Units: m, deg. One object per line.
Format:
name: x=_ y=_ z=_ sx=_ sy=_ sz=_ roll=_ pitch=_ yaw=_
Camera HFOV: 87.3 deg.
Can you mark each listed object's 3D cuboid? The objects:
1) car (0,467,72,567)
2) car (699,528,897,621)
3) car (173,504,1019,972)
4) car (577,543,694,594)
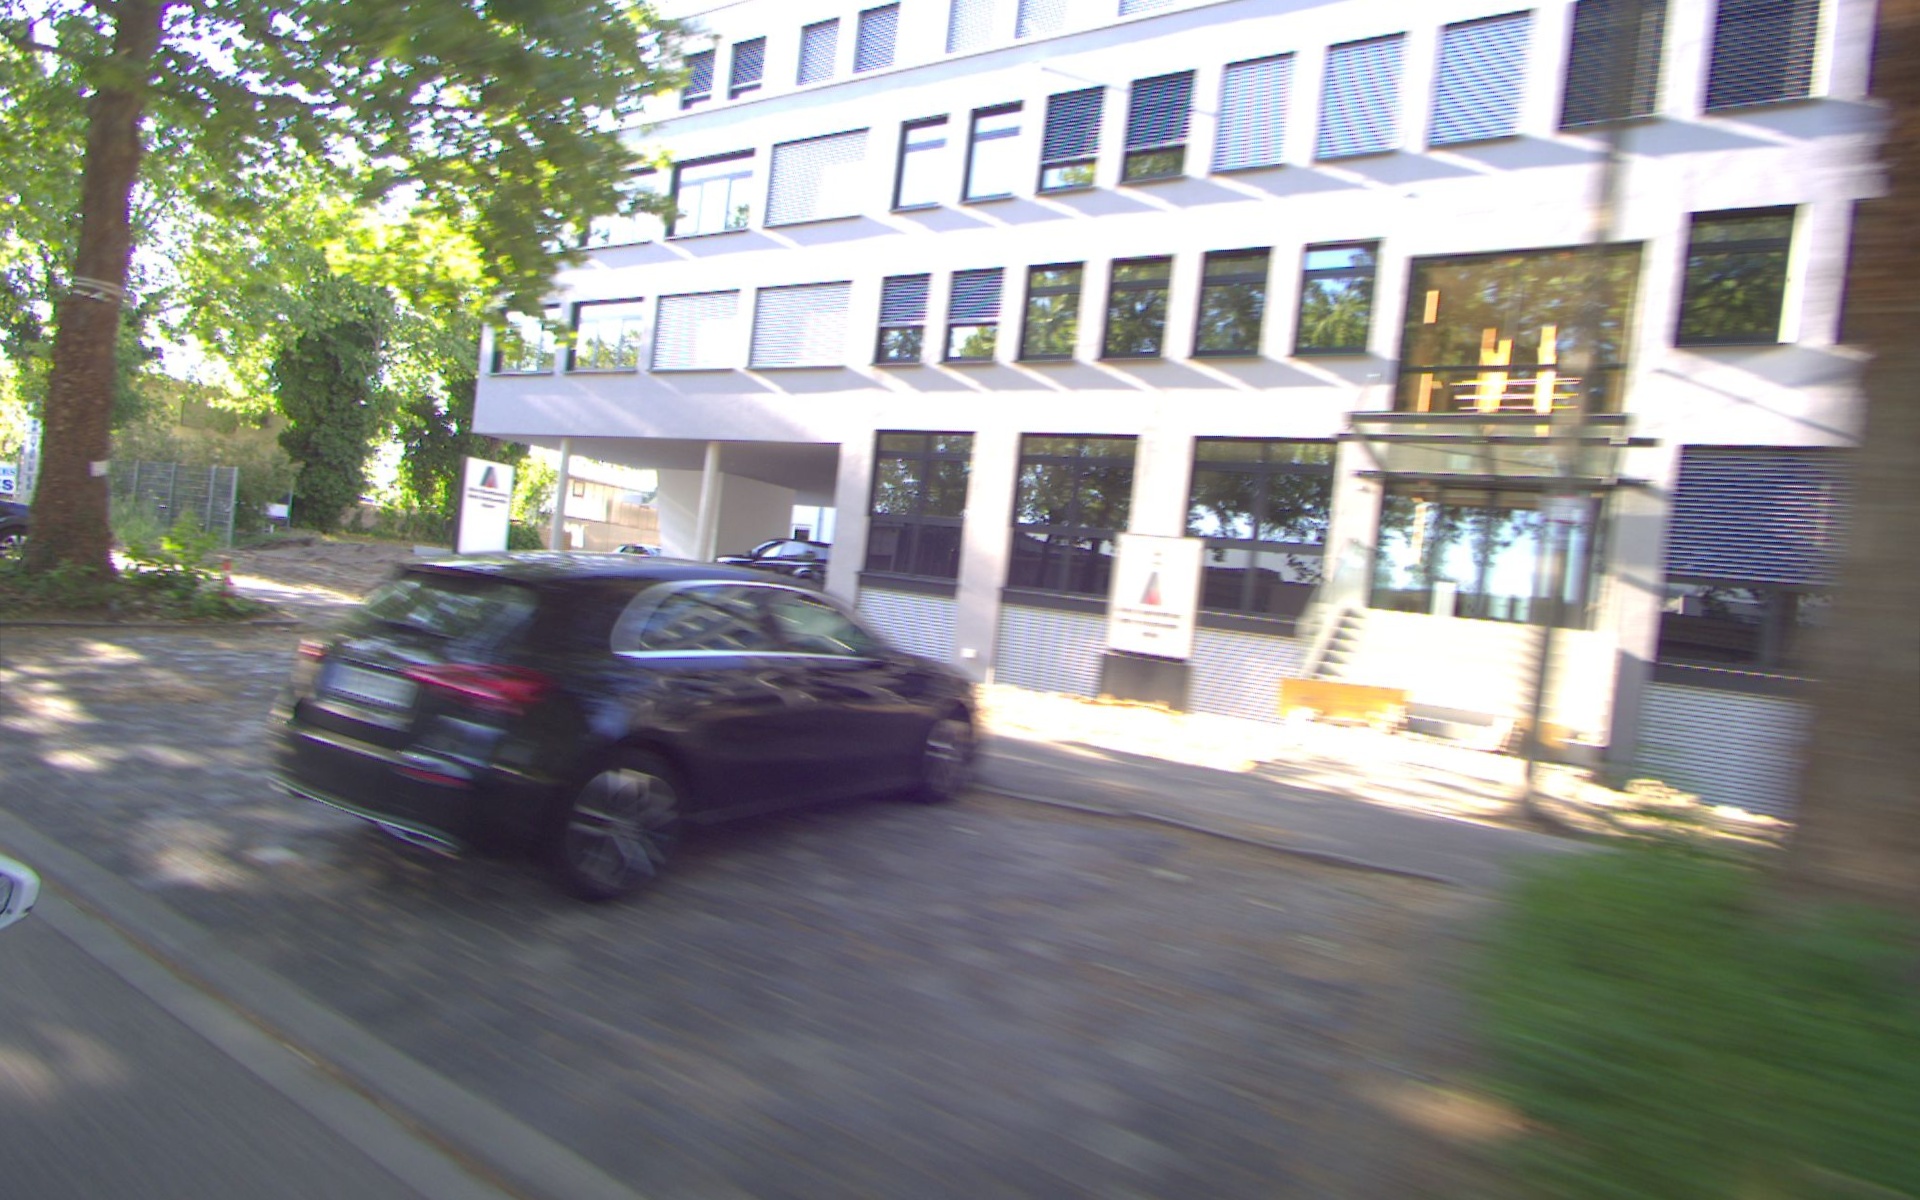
car: x=-16.239 y=-1.412 z=15.228 sx=1.829 sy=1.506 sz=3.786 roll=6 pitch=2 yaw=30
car: x=-4.020 y=-0.662 z=24.655 sx=4.597 sy=1.751 sz=1.995 roll=6 pitch=-2 yaw=37
car: x=-1.487 y=0.440 z=5.683 sx=1.829 sy=1.506 sz=4.284 roll=6 pitch=3 yaw=30
car: x=-14.009 y=-1.367 z=43.414 sx=4.691 sy=1.563 sz=1.999 roll=6 pitch=-2 yaw=28
